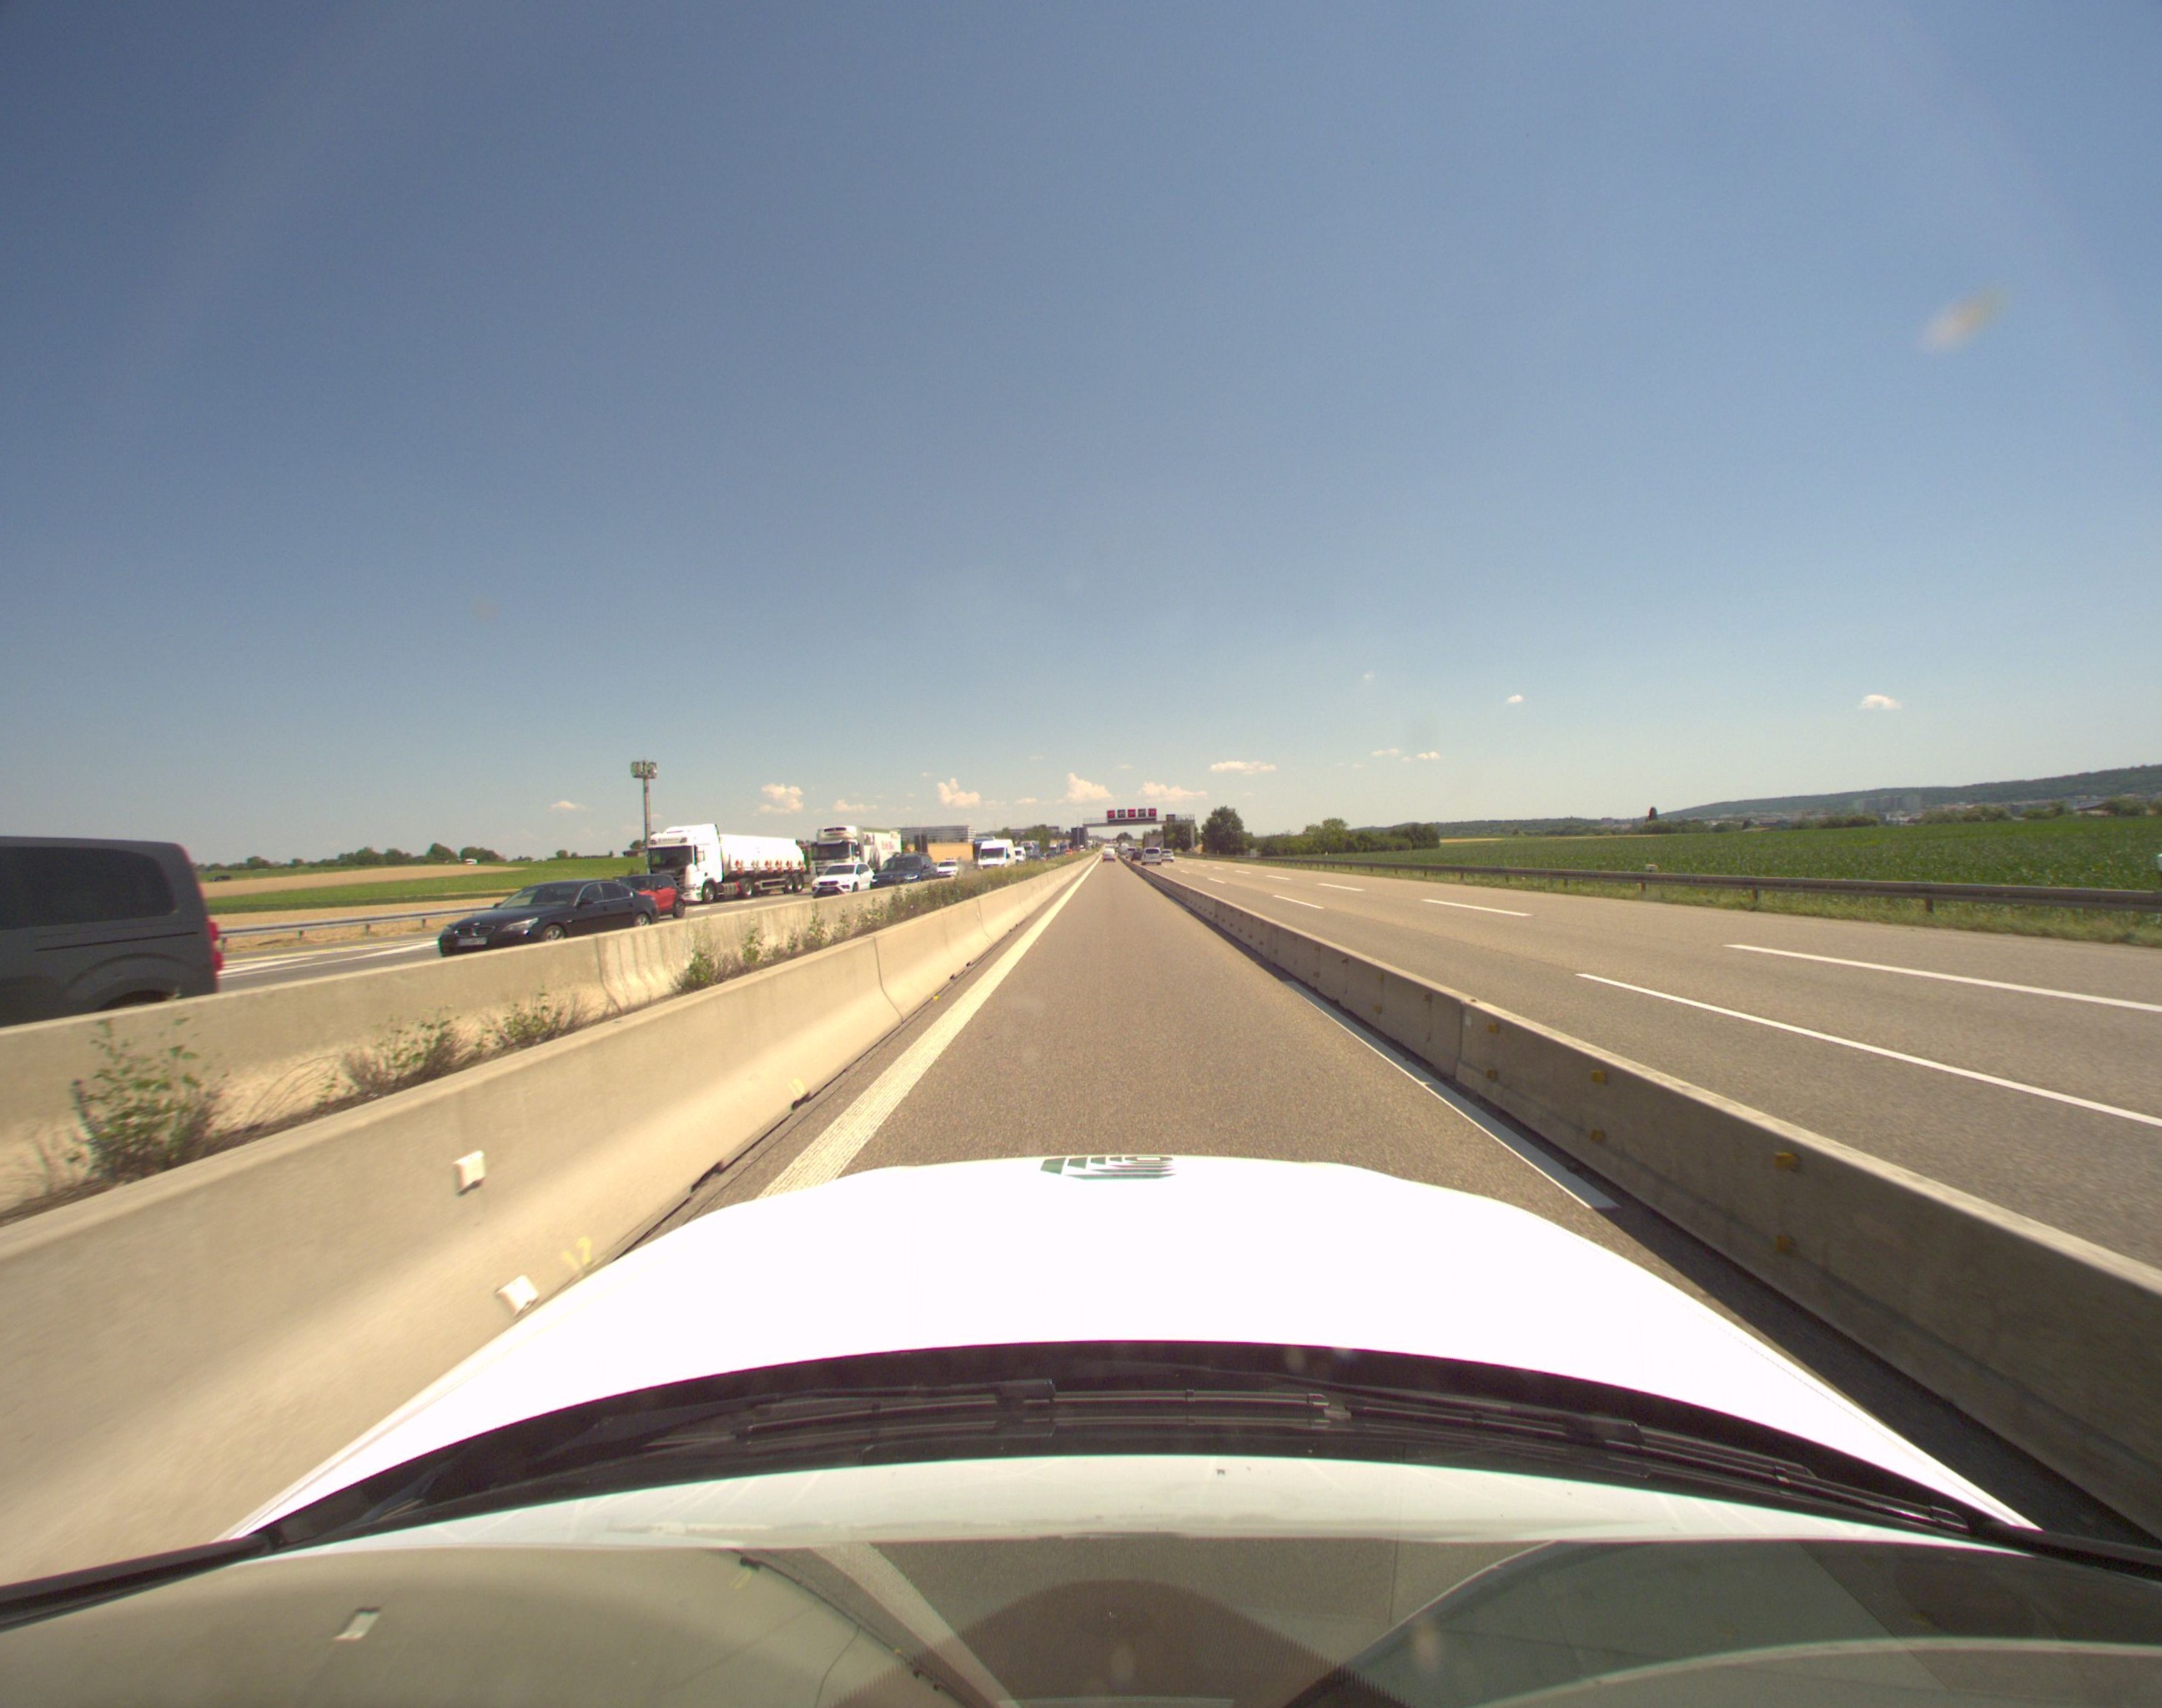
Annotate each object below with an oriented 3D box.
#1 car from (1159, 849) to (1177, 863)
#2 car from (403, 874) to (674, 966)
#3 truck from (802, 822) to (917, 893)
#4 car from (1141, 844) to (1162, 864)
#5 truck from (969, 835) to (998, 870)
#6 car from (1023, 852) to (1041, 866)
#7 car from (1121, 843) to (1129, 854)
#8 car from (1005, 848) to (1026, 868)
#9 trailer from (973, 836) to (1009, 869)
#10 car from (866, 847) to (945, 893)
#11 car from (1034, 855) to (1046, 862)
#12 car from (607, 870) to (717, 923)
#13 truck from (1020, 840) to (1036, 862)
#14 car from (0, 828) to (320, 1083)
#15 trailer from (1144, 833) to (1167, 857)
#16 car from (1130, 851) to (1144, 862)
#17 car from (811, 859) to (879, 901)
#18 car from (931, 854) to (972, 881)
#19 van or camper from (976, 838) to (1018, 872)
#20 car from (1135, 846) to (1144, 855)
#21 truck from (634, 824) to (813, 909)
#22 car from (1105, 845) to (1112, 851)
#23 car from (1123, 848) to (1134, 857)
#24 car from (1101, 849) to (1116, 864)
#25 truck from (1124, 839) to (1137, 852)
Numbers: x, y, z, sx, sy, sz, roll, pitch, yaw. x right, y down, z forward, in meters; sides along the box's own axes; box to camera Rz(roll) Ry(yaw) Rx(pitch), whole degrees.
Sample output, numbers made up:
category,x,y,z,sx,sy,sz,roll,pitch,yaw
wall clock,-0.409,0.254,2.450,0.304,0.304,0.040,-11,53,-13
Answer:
category,x,y,z,sx,sy,sz,roll,pitch,yaw
car,11.300,0.254,105.432,1.986,1.794,4.001,-1,0,2
car,-10.727,1.210,16.728,2.006,1.386,5.087,-2,0,1
truck,-13.297,0.168,50.695,2.784,3.609,13.296,-4,0,2
car,7.600,0.014,87.513,1.986,2.120,4.001,-1,0,2
truck,-12.176,-0.209,102.300,2.800,4.128,4.843,-2,0,1
car,-5.541,0.499,91.743,1.592,1.469,4.534,-2,0,1
car,10.207,-1.288,188.358,1.767,2.392,4.001,-1,0,2
car,-8.472,0.503,106.022,2.039,2.501,5.814,-2,0,1
trailer,-11.996,-0.235,109.878,2.799,4.128,14.134,-2,0,1
car,-6.523,0.546,30.769,1.775,1.589,4.543,-1,0,2
car,-7.080,0.820,141.262,1.741,1.266,4.435,0,-1,1
car,-14.270,1.406,27.991,1.557,1.516,3.939,-4,0,2
truck,-10.291,-0.590,158.358,2.402,4.086,4.662,-2,0,2
car,-7.607,0.648,4.384,1.836,1.569,5.347,-1,0,2
trailer,12.646,-1.439,139.573,3.265,3.967,9.116,-1,0,2
car,7.685,0.353,111.412,1.767,1.447,4.001,-1,0,2
car,-10.408,1.101,36.229,1.552,1.622,4.048,-2,0,3
car,-9.271,0.928,58.743,1.880,1.709,5.522,-4,0,0
van or camper,-5.823,0.041,57.273,2.028,2.221,7.210,0,0,1
car,14.023,-0.840,195.631,1.986,2.014,4.001,-1,0,2
truck,-19.082,0.546,45.148,2.886,3.776,13.305,-4,0,5
car,8.508,-1.804,249.275,1.986,1.835,4.002,-1,0,2
car,8.441,-0.247,145.825,1.767,1.447,4.001,-1,0,2
car,3.809,0.328,112.591,1.986,2.014,4.001,-1,0,2
truck,16.140,-2.705,264.925,3.802,3.904,9.583,-2,0,1
